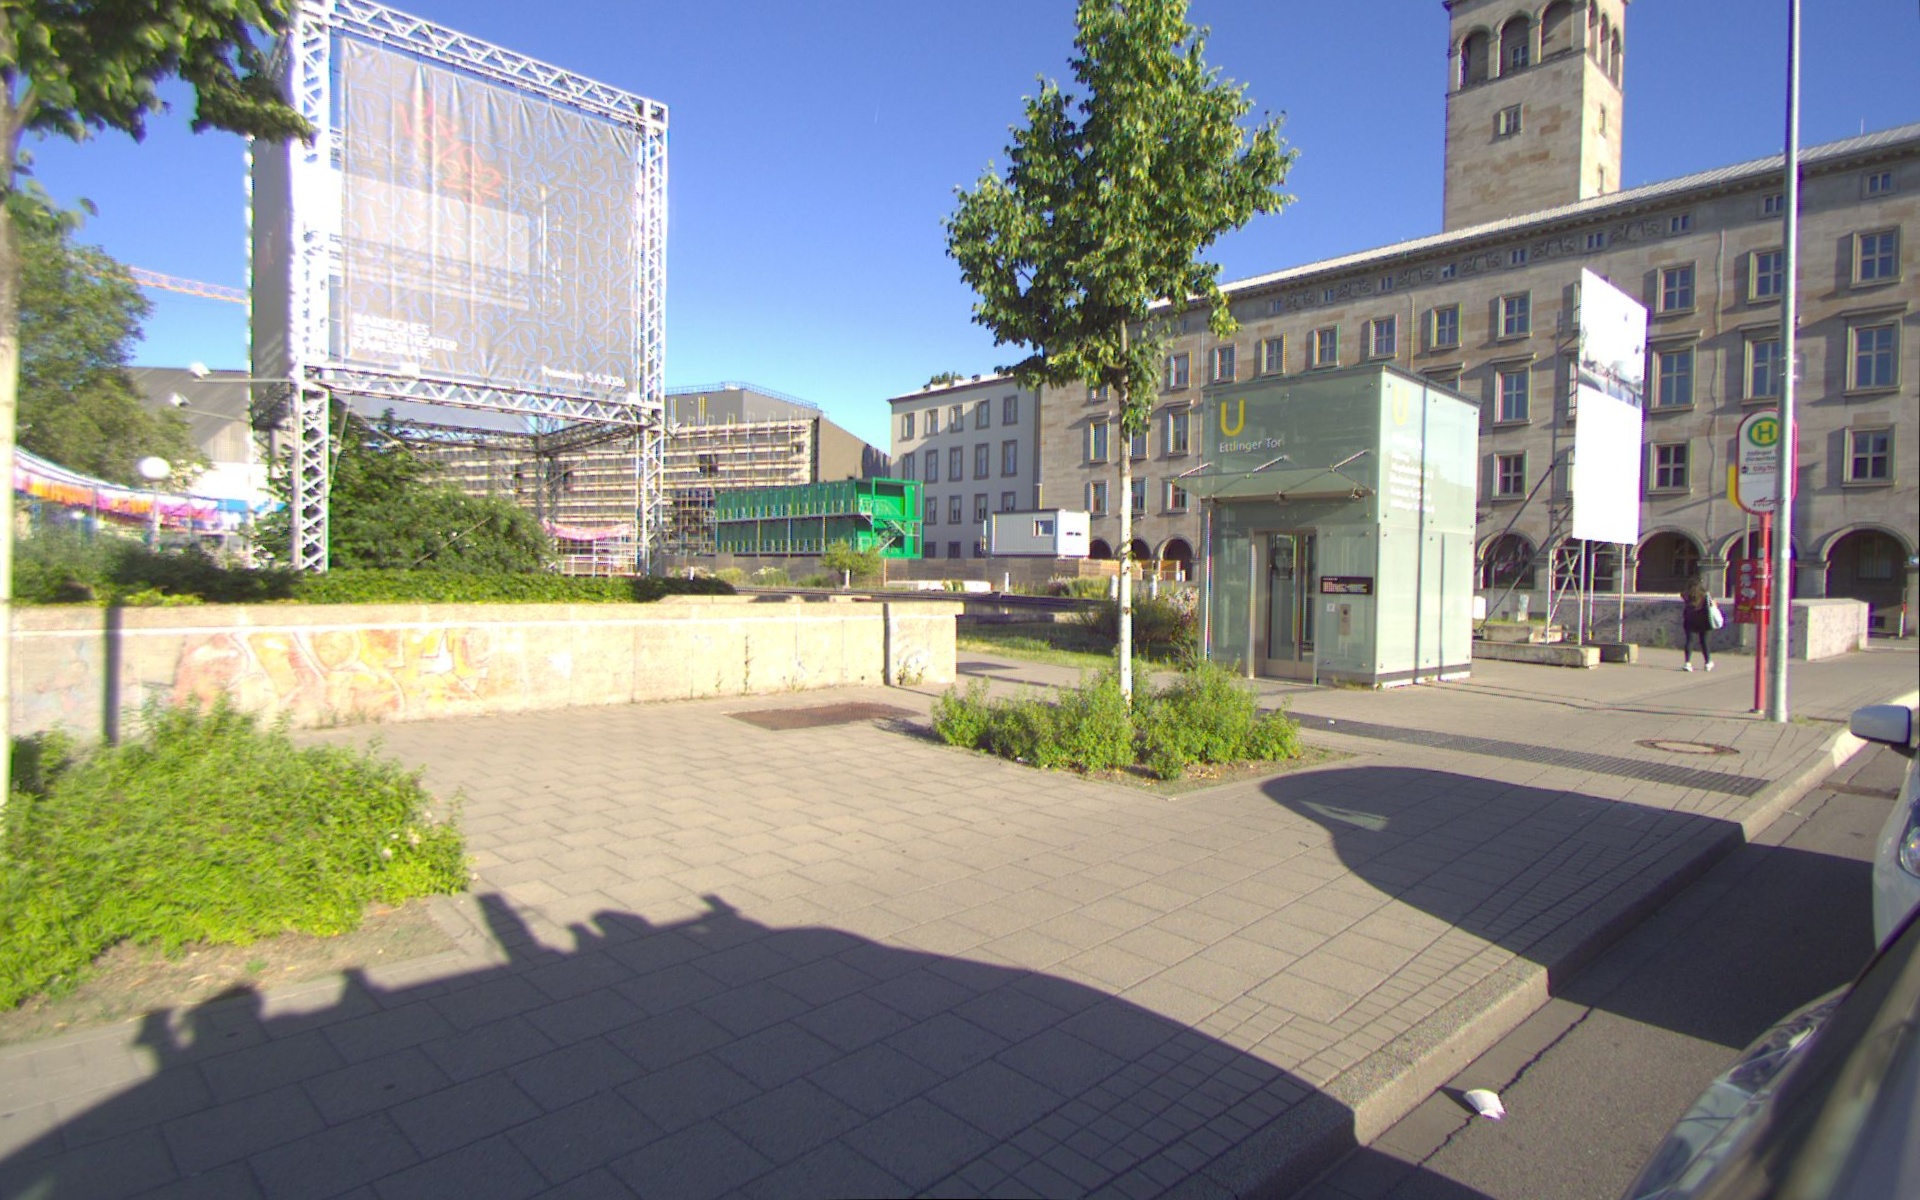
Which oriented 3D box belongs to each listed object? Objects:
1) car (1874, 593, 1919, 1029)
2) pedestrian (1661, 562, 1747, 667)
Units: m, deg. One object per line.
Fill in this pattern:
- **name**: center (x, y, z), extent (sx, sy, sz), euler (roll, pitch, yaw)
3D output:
- **car**: center (5.132, 0.709, 4.128), extent (3.822, 1.467, 1.677), euler (0, 0, -42)
- **pedestrian**: center (13.508, 0.243, 18.382), extent (1.053, 1.808, 0.942), euler (0, 4, -41)
